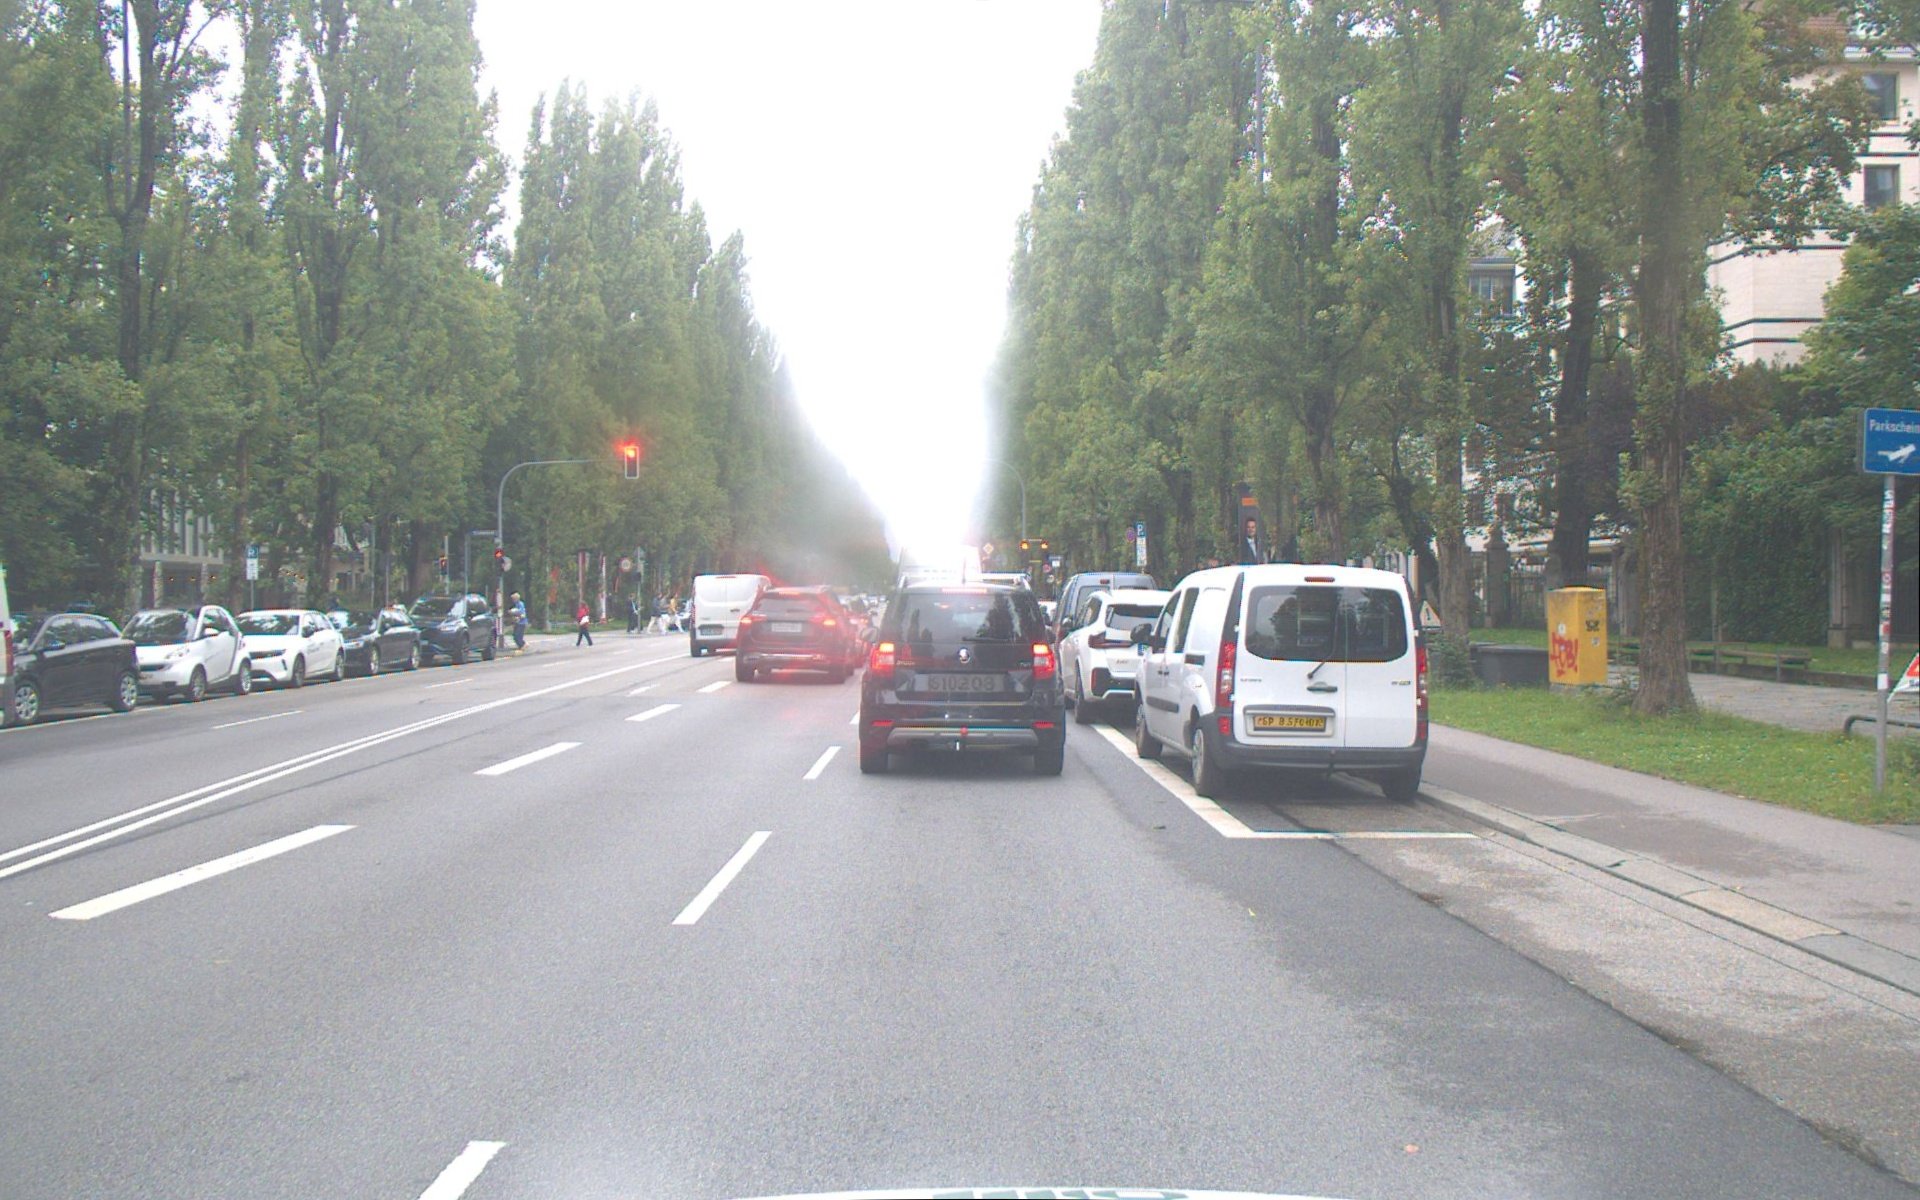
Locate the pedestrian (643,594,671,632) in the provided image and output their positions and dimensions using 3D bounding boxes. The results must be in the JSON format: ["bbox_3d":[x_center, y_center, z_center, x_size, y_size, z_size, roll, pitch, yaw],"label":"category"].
[{"bbox_3d":[-13.433,0.563,73.342,0.874,1.684,0.866,-1,0,-39],"label":"pedestrian"}]

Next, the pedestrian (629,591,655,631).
[{"bbox_3d":[-14.280,0.482,74.239,0.861,1.795,0.879,-1,0,8],"label":"pedestrian"}]

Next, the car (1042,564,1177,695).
[{"bbox_3d":[2.327,0.417,26.640,1.700,1.928,4.024,-1,1,-1],"label":"car"}]

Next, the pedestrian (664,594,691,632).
[{"bbox_3d":[-12.684,0.571,74.141,0.874,1.684,0.866,-1,0,-39],"label":"pedestrian"}]

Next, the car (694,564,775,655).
[{"bbox_3d":[-5.631,0.213,41.646,1.746,2.148,4.021,-1,0,-4],"label":"car"}]

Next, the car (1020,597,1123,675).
[{"bbox_3d":[2.149,0.666,32.711,1.700,1.411,3.561,-1,1,-1],"label":"car"}]

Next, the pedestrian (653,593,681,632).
[{"bbox_3d":[-12.871,0.563,72.632,0.874,1.684,0.866,-1,0,-39],"label":"pedestrian"}]

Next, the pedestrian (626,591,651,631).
[{"bbox_3d":[-14.620,0.496,75.283,0.861,1.795,0.879,-1,0,8],"label":"pedestrian"}]

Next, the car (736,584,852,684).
[{"bbox_3d":[-2.911,0.546,29.716,1.745,1.648,4.024,-1,1,-1],"label":"car"}]

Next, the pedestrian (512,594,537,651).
[{"bbox_3d":[-12.527,0.647,47.544,0.517,1.605,0.662,-1,0,-1],"label":"pedestrian"}]

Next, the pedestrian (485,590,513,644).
[{"bbox_3d":[-13.735,0.504,49.306,0.647,1.605,0.530,-1,0,-1],"label":"pedestrian"}]

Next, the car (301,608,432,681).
[{"bbox_3d":[-13.235,0.958,37.120,1.591,1.413,4.164,-3,0,-4],"label":"car"}]

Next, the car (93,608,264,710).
[{"bbox_3d":[-12.842,0.927,27.347,1.399,1.472,2.965,-4,0,-2],"label":"car"}]

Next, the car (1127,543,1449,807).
[{"bbox_3d":[2.635,0.530,14.281,1.814,1.914,4.167,-1,1,-2],"label":"car"}]

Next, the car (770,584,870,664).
[{"bbox_3d":[-2.990,0.474,36.007,1.953,1.588,3.999,-1,1,-2],"label":"car"}]

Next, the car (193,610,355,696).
[{"bbox_3d":[-13.011,0.962,31.611,1.592,1.413,4.163,-3,0,-5],"label":"car"}]

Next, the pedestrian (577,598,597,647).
[{"bbox_3d":[-11.863,0.711,52.600,0.507,1.511,0.536,-1,0,-1],"label":"pedestrian"}]

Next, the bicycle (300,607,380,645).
[{"bbox_3d":[-21.340,0.879,56.953,2.481,1.259,0.813,-1,0,9],"label":"bicycle"}]

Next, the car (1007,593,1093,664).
[{"bbox_3d":[2.023,0.616,38.011,1.700,1.501,3.561,-1,1,-1],"label":"car"}]

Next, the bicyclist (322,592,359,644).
[{"bbox_3d":[-21.342,0.621,56.963,0.886,1.752,0.825,-1,0,8],"label":"bicyclist"}]

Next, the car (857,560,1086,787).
[{"bbox_3d":[0.061,0.586,15.380,1.818,1.801,3.999,1,0,-1],"label":"car"}]

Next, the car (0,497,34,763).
[{"bbox_3d":[-10.037,0.341,12.769,2.183,2.526,6.754,-2,0,-3],"label":"car"}]

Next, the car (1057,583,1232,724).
[{"bbox_3d":[2.271,0.598,21.365,1.705,1.620,4.210,-1,1,-1],"label":"car"}]

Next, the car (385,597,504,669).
[{"bbox_3d":[-13.313,0.806,42.981,1.812,1.683,4.692,-3,0,-4],"label":"car"}]

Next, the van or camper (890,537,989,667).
[{"bbox_3d":[-0.503,0.024,35.307,1.936,2.593,4.023,-1,0,-3],"label":"van or camper"}]

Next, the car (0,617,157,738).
[{"bbox_3d":[-12.712,1.025,22.534,1.568,1.450,3.851,-3,0,0],"label":"car"}]

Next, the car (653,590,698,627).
[{"bbox_3d":[-14.154,0.399,82.506,1.654,1.814,3.774,-1,0,-1],"label":"car"}]
